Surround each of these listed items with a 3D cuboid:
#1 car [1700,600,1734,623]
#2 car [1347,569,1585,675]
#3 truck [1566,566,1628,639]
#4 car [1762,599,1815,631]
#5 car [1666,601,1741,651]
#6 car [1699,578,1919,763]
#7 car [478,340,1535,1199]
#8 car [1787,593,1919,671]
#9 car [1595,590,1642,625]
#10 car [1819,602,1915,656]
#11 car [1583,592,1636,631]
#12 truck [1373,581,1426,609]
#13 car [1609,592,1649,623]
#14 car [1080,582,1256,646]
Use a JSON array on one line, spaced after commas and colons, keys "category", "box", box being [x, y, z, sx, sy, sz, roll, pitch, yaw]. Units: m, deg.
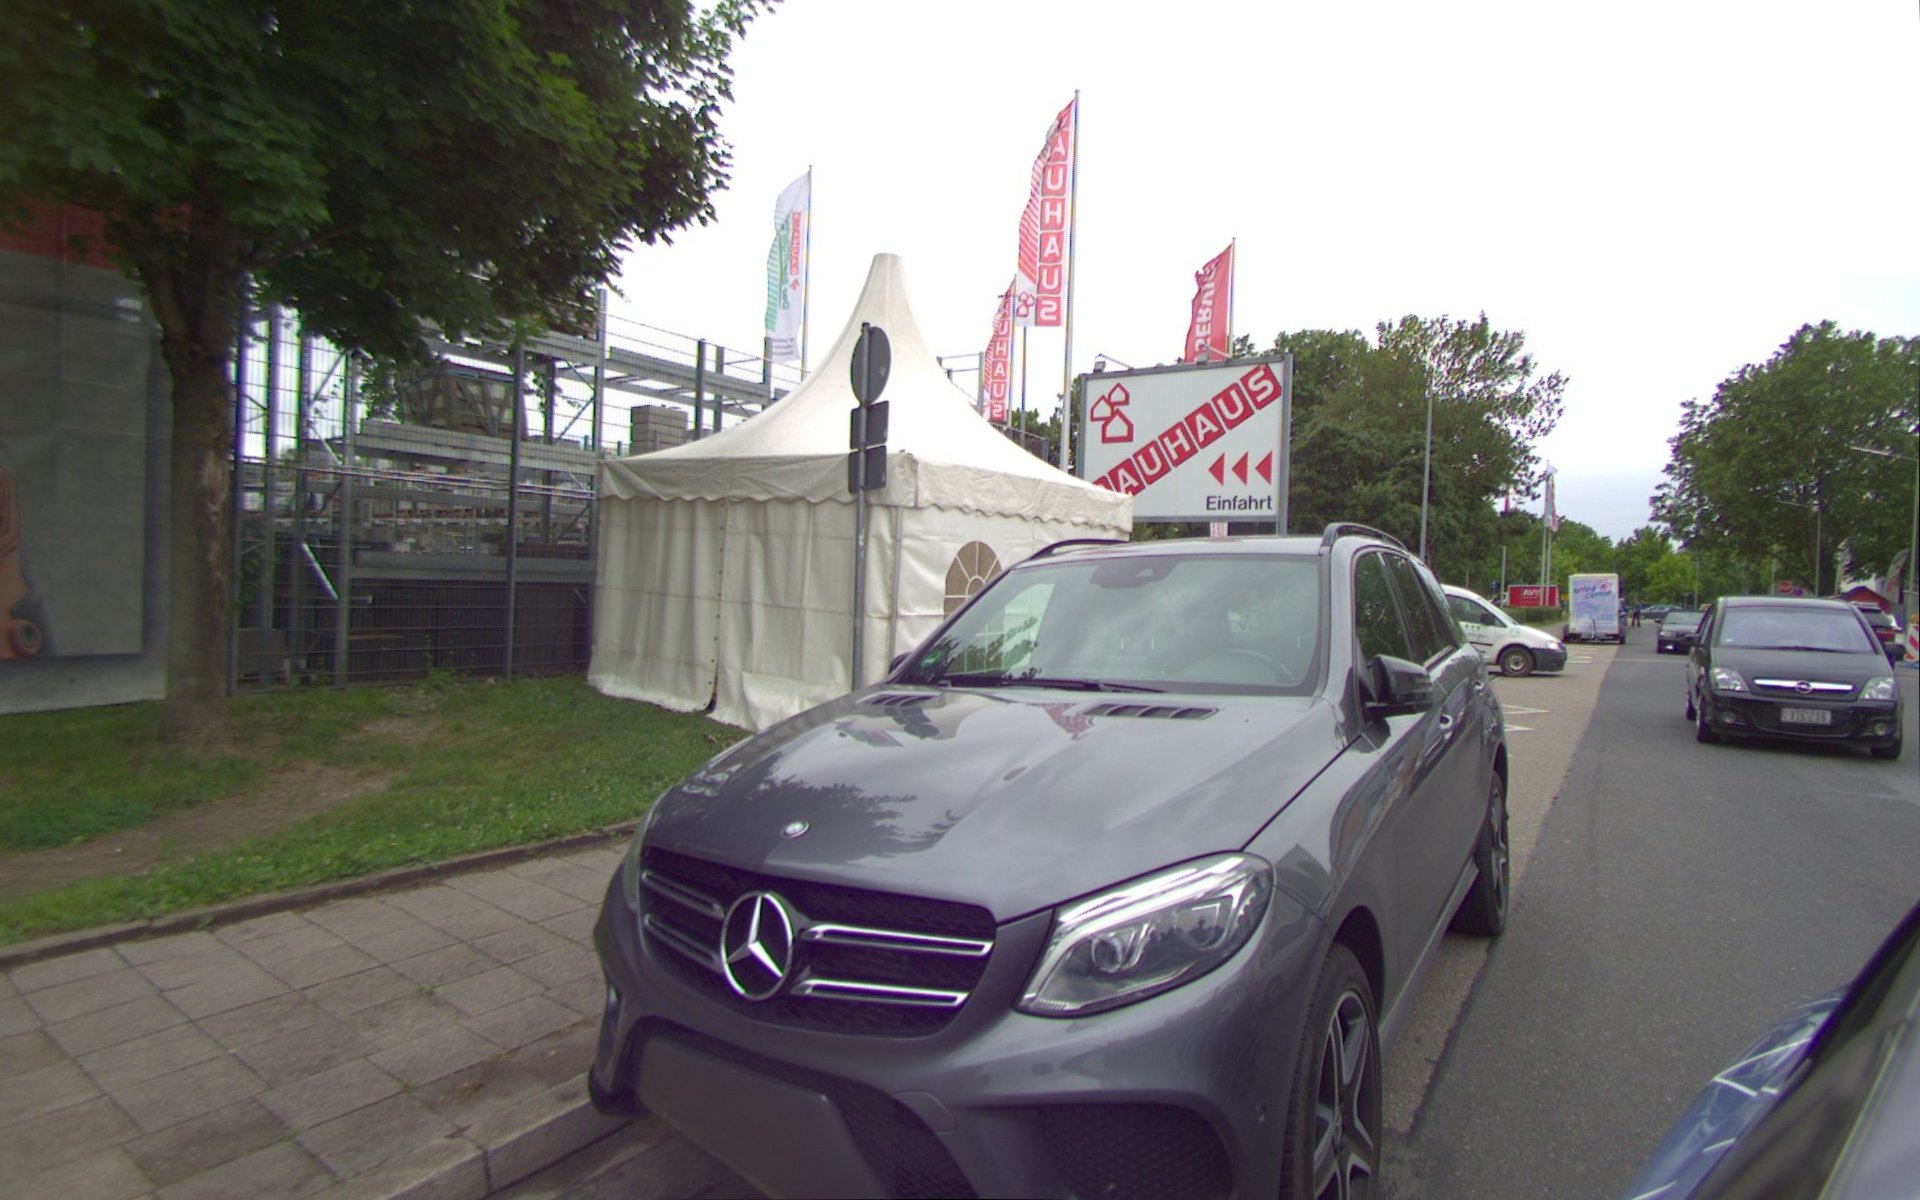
[{"category": "car", "box": [57.383, 0.861, 76.768, 1.919, 1.593, 3.949, 4, 2, 35]}, {"category": "car", "box": [10.964, 0.401, 22.044, 4.355, 1.829, 1.779, 6, 3, 34]}, {"category": "truck", "box": [24.383, 0.103, 38.682, 1.841, 2.646, 3.951, -1, -1, 34]}, {"category": "car", "box": [47.515, 0.806, 58.081, 1.920, 1.592, 4.096, 7, 4, 35]}, {"category": "car", "box": [22.978, 0.758, 31.381, 1.740, 1.375, 4.086, 1, 1, 35]}, {"category": "car", "box": [9.302, 0.639, 11.253, 1.677, 1.652, 3.709, 3, 2, 36]}, {"category": "car", "box": [0.826, 0.522, 3.787, 1.902, 1.763, 4.423, -1, -1, 35]}, {"category": "car", "box": [23.182, 0.747, 26.410, 1.954, 1.682, 4.596, 6, 3, 34]}, {"category": "car", "box": [37.102, 0.386, 56.982, 1.989, 1.838, 3.948, 3, 2, 36]}, {"category": "car", "box": [32.142, 0.979, 35.986, 1.920, 1.592, 4.096, 7, 4, 35]}, {"category": "car", "box": [32.736, 0.547, 50.974, 1.989, 1.771, 3.948, 3, 2, 36]}, {"category": "truck", "box": [39.536, -0.463, 91.097, 3.915, 2.426, 2.005, 2, 1, -15]}, {"category": "car", "box": [41.546, 0.453, 62.823, 1.987, 1.771, 3.950, 3, 2, 34]}, {"category": "car", "box": [5.305, 0.307, 26.039, 4.091, 1.438, 1.708, 2, 1, 36]}]
